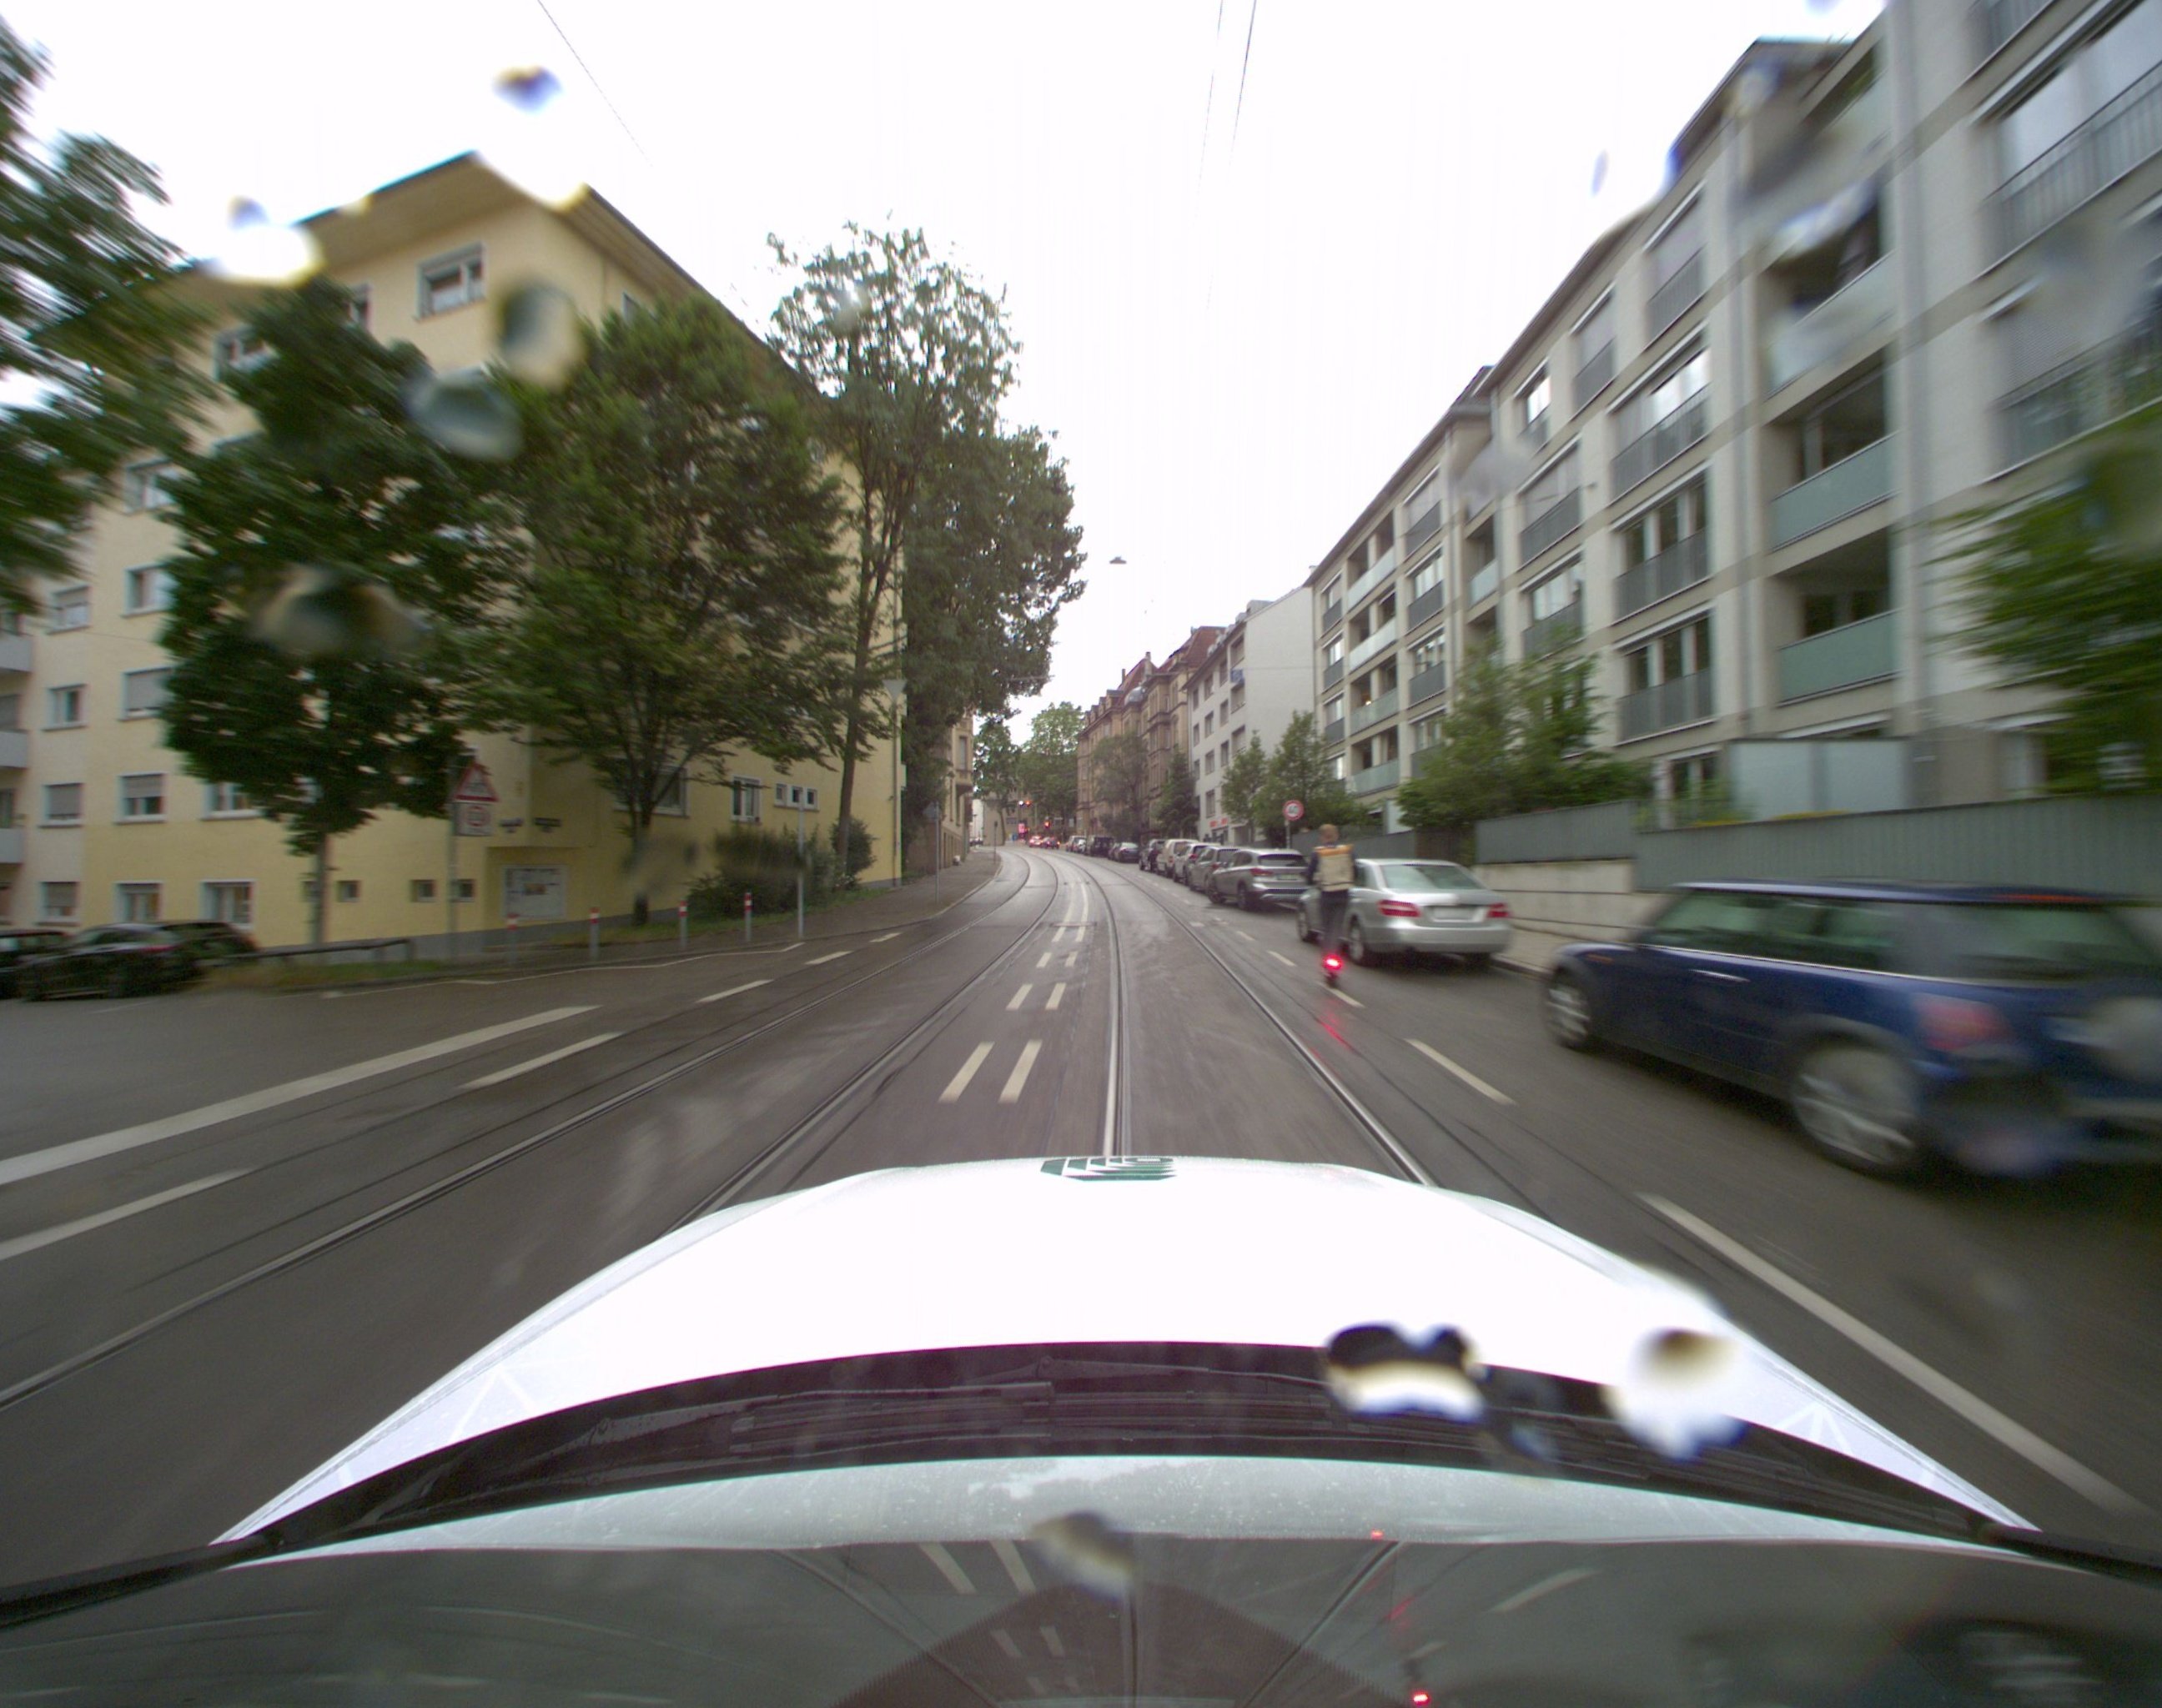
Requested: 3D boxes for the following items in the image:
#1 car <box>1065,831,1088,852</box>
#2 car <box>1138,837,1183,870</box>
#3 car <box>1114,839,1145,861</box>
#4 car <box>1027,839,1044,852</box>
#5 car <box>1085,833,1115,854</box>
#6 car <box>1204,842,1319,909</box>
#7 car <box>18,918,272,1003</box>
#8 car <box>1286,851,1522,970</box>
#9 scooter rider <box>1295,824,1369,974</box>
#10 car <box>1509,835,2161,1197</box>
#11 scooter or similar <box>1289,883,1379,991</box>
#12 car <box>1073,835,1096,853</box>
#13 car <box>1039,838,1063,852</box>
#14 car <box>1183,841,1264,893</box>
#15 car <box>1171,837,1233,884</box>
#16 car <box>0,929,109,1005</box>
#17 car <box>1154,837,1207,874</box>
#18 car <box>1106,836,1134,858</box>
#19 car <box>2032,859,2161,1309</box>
[{"bbox_3d":[-0.502,-1.332,89.161,2.026,2.218,4.130,1,1,-7],"label":"car"},{"bbox_3d":[4.301,-0.077,44.626,1.763,1.684,4.243,1,1,-3],"label":"car"},{"bbox_3d":[3.441,-0.327,58.403,1.763,1.517,4.135,1,1,-3],"label":"car"},{"bbox_3d":[-6.122,-1.157,109.046,1.857,1.734,4.125,1,1,-10],"label":"car"},{"bbox_3d":[1.668,-0.957,72.554,2.026,1.824,4.357,1,1,-7],"label":"car"},{"bbox_3d":[4.770,0.510,22.143,1.764,1.615,4.239,-1,0,-6],"label":"car"},{"bbox_3d":[-18.232,2.068,15.895,3.910,1.281,1.719,-4,1,17],"label":"car"},{"bbox_3d":[4.612,0.692,12.455,1.756,1.434,4.638,-1,0,0],"label":"car"},{"bbox_3d":[2.972,0.502,9.715,0.620,1.705,0.844,-1,1,1],"label":"scooter rider"},{"bbox_3d":[4.564,0.666,5.295,1.695,1.512,3.716,-1,0,2],"label":"car"},{"bbox_3d":[2.955,0.922,9.688,0.511,1.049,2.010,0,1,2],"label":"scooter or similar"},{"bbox_3d":[0.335,-1.042,83.984,2.024,1.824,4.133,1,1,-5],"label":"car"},{"bbox_3d":[-3.845,-1.114,103.202,2.033,1.734,4.115,0,1,-18],"label":"car"},{"bbox_3d":[4.812,0.384,28.052,1.763,1.615,4.242,1,1,-4],"label":"car"},{"bbox_3d":[4.919,0.214,33.635,1.762,1.787,4.245,1,1,-2],"label":"car"},{"bbox_3d":[-23.896,2.474,17.912,4.005,1.372,1.719,-3,2,17],"label":"car"},{"bbox_3d":[4.766,0.025,39.627,1.763,1.684,4.242,1,1,-4],"label":"car"},{"bbox_3d":[3.000,-0.549,63.378,1.647,1.536,3.882,-3,1,-5],"label":"car"},{"bbox_3d":[4.250,0.766,0.767,1.654,1.471,4.512,1,0,4],"label":"car"}]
